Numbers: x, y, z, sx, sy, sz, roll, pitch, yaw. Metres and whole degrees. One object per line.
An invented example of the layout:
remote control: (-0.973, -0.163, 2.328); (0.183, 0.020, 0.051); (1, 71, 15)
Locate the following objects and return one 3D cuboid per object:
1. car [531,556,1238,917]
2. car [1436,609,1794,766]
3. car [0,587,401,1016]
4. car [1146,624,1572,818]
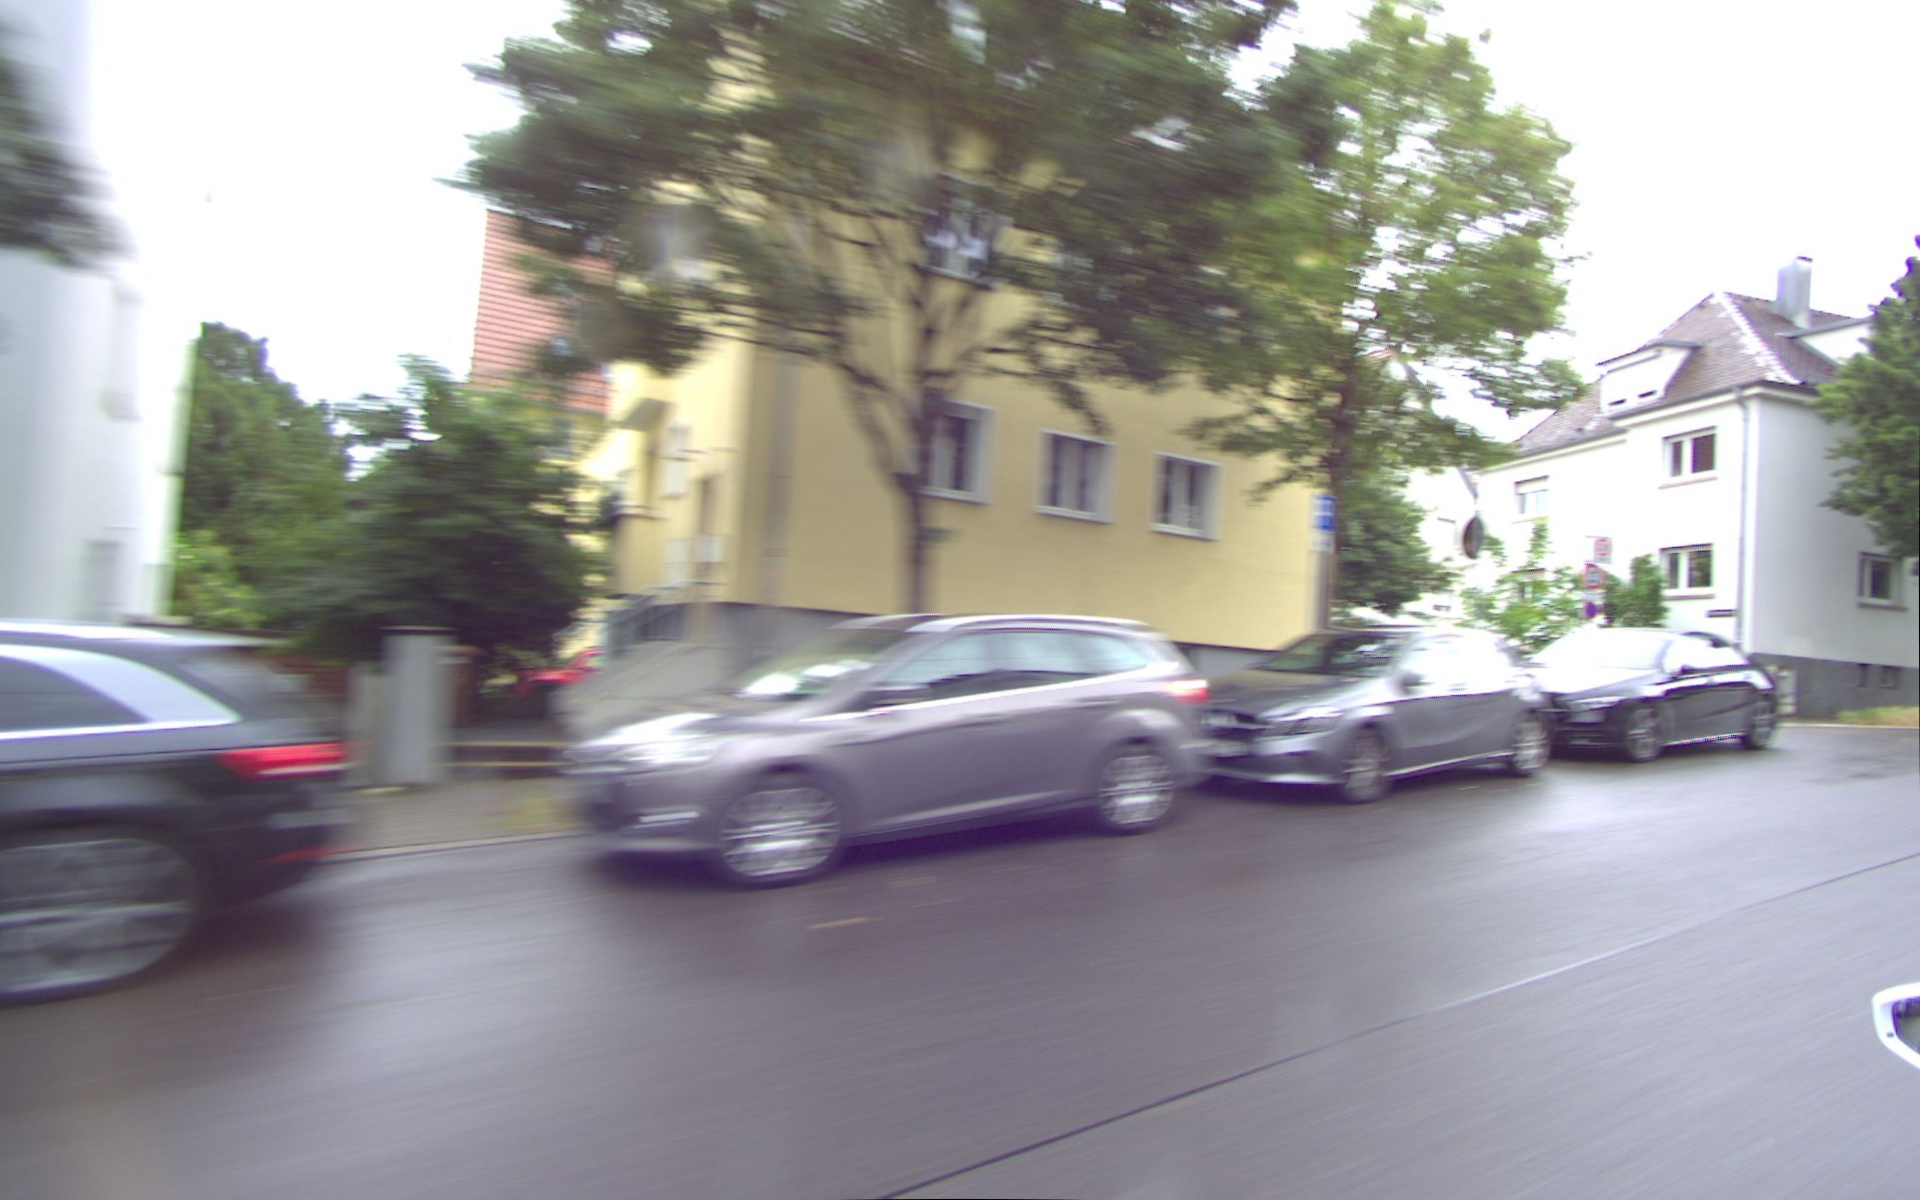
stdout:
car: (-0.326, 0.721, 6.836); (4.508, 1.712, 1.842); (2, -2, -35)
car: (7.935, 0.958, 12.074); (4.463, 1.561, 1.767); (2, 0, -30)
car: (-4.821, 0.697, 3.619); (4.698, 1.518, 1.840); (1, -1, -38)
car: (3.842, 0.965, 9.363); (4.279, 1.415, 1.603); (2, -1, -35)
